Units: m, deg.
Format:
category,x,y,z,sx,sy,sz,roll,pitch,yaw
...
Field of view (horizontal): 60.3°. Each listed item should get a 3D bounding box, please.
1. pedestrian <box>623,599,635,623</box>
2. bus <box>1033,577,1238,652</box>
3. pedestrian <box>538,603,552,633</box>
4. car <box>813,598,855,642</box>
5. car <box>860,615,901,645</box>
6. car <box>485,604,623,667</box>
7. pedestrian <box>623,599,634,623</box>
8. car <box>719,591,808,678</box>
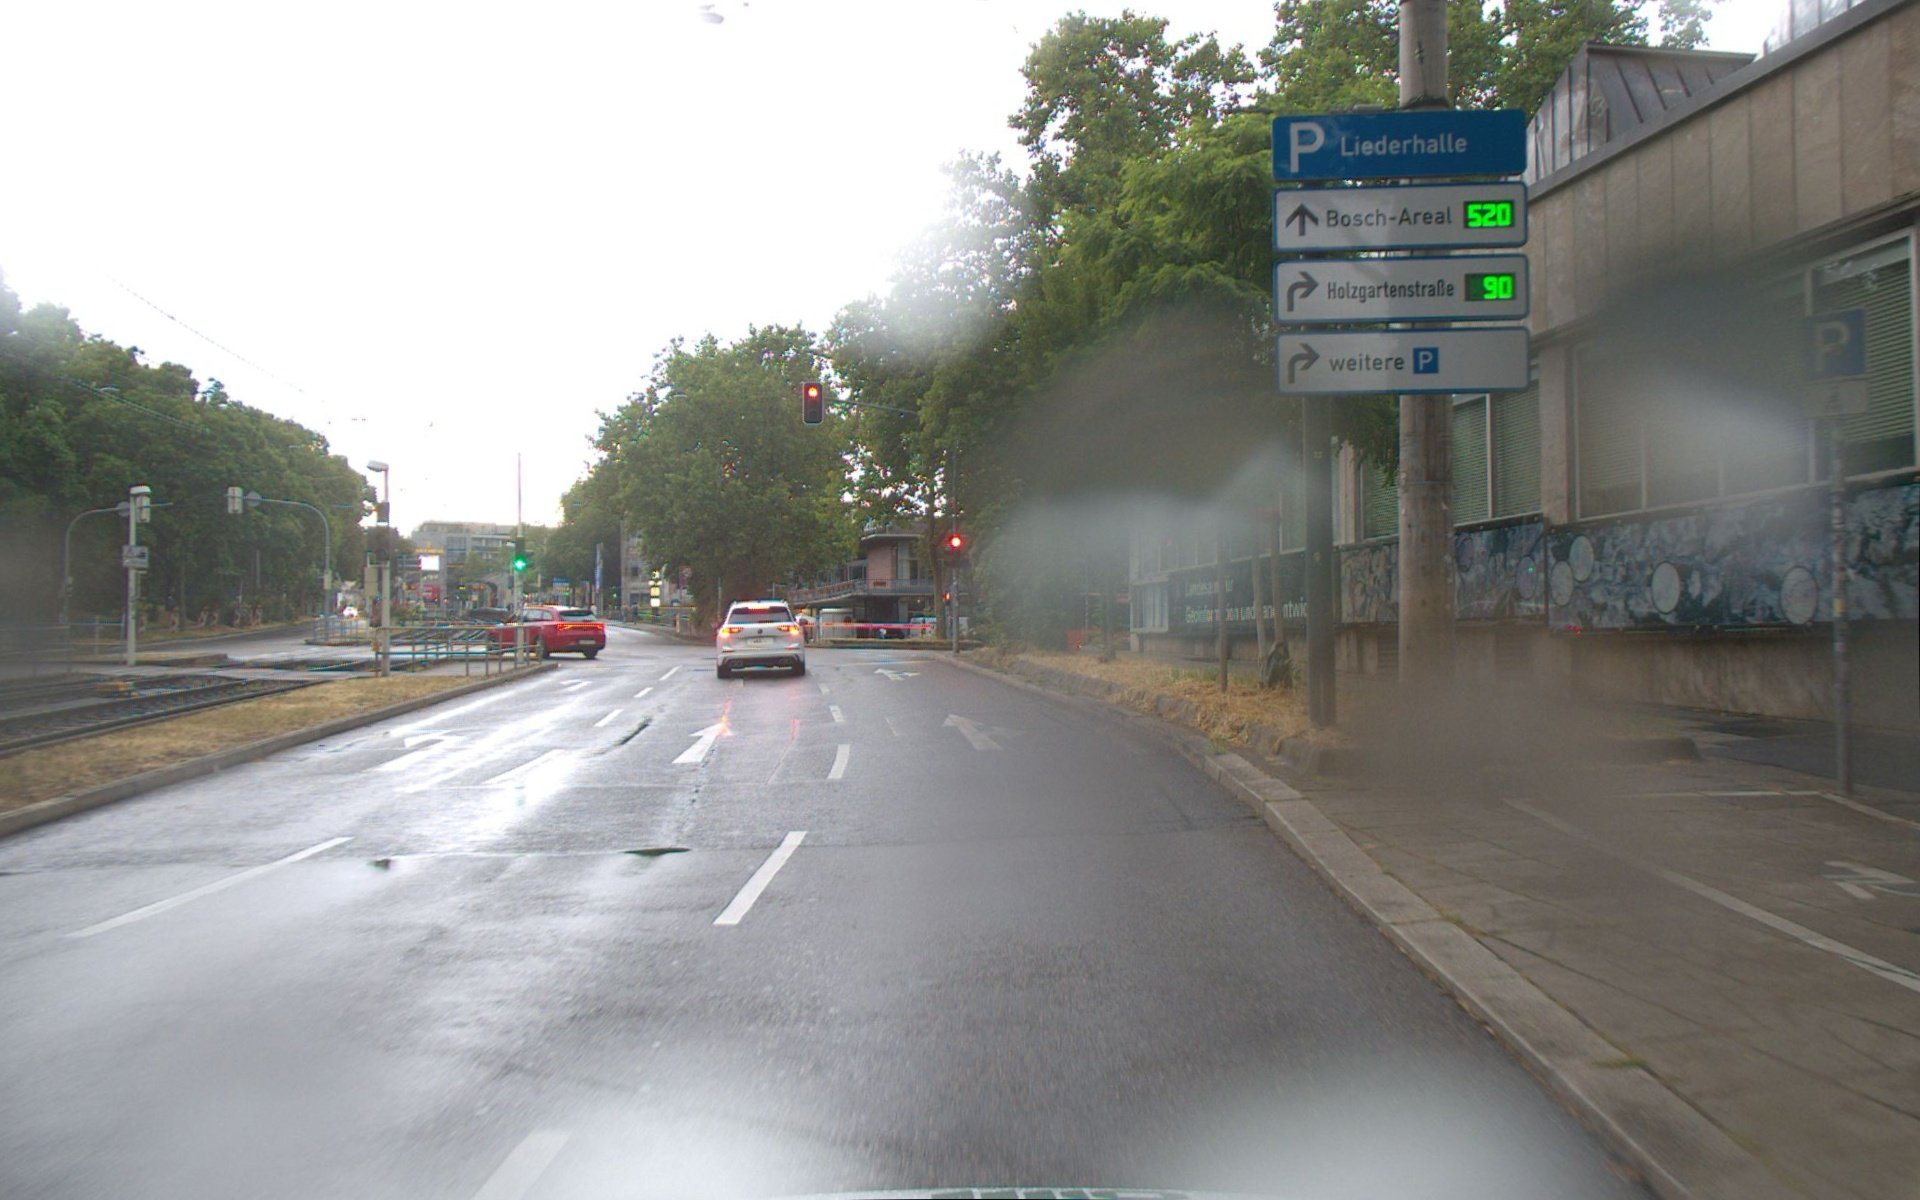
category,x,y,z,sx,sy,sz,roll,pitch,yaw
pedestrian,-25.949,0.873,129.642,0.744,1.855,0.697,2,-2,-19
bus,8.178,0.726,76.954,9.278,3.166,2.545,2,-2,-18
pedestrian,-23.586,1.013,94.049,0.725,1.669,0.868,2,-2,-13
car,-9.461,1.496,123.936,2.499,3.189,5.017,2,-2,-11
car,-5.695,2.167,118.235,1.962,2.049,3.980,2,-2,-18
car,-11.481,0.993,46.624,1.969,1.669,4.350,3,-2,-41
pedestrian,-26.134,0.887,130.416,0.744,1.855,0.697,2,-2,-19
car,-3.938,0.649,33.462,1.646,1.604,4.247,-1,0,-6
